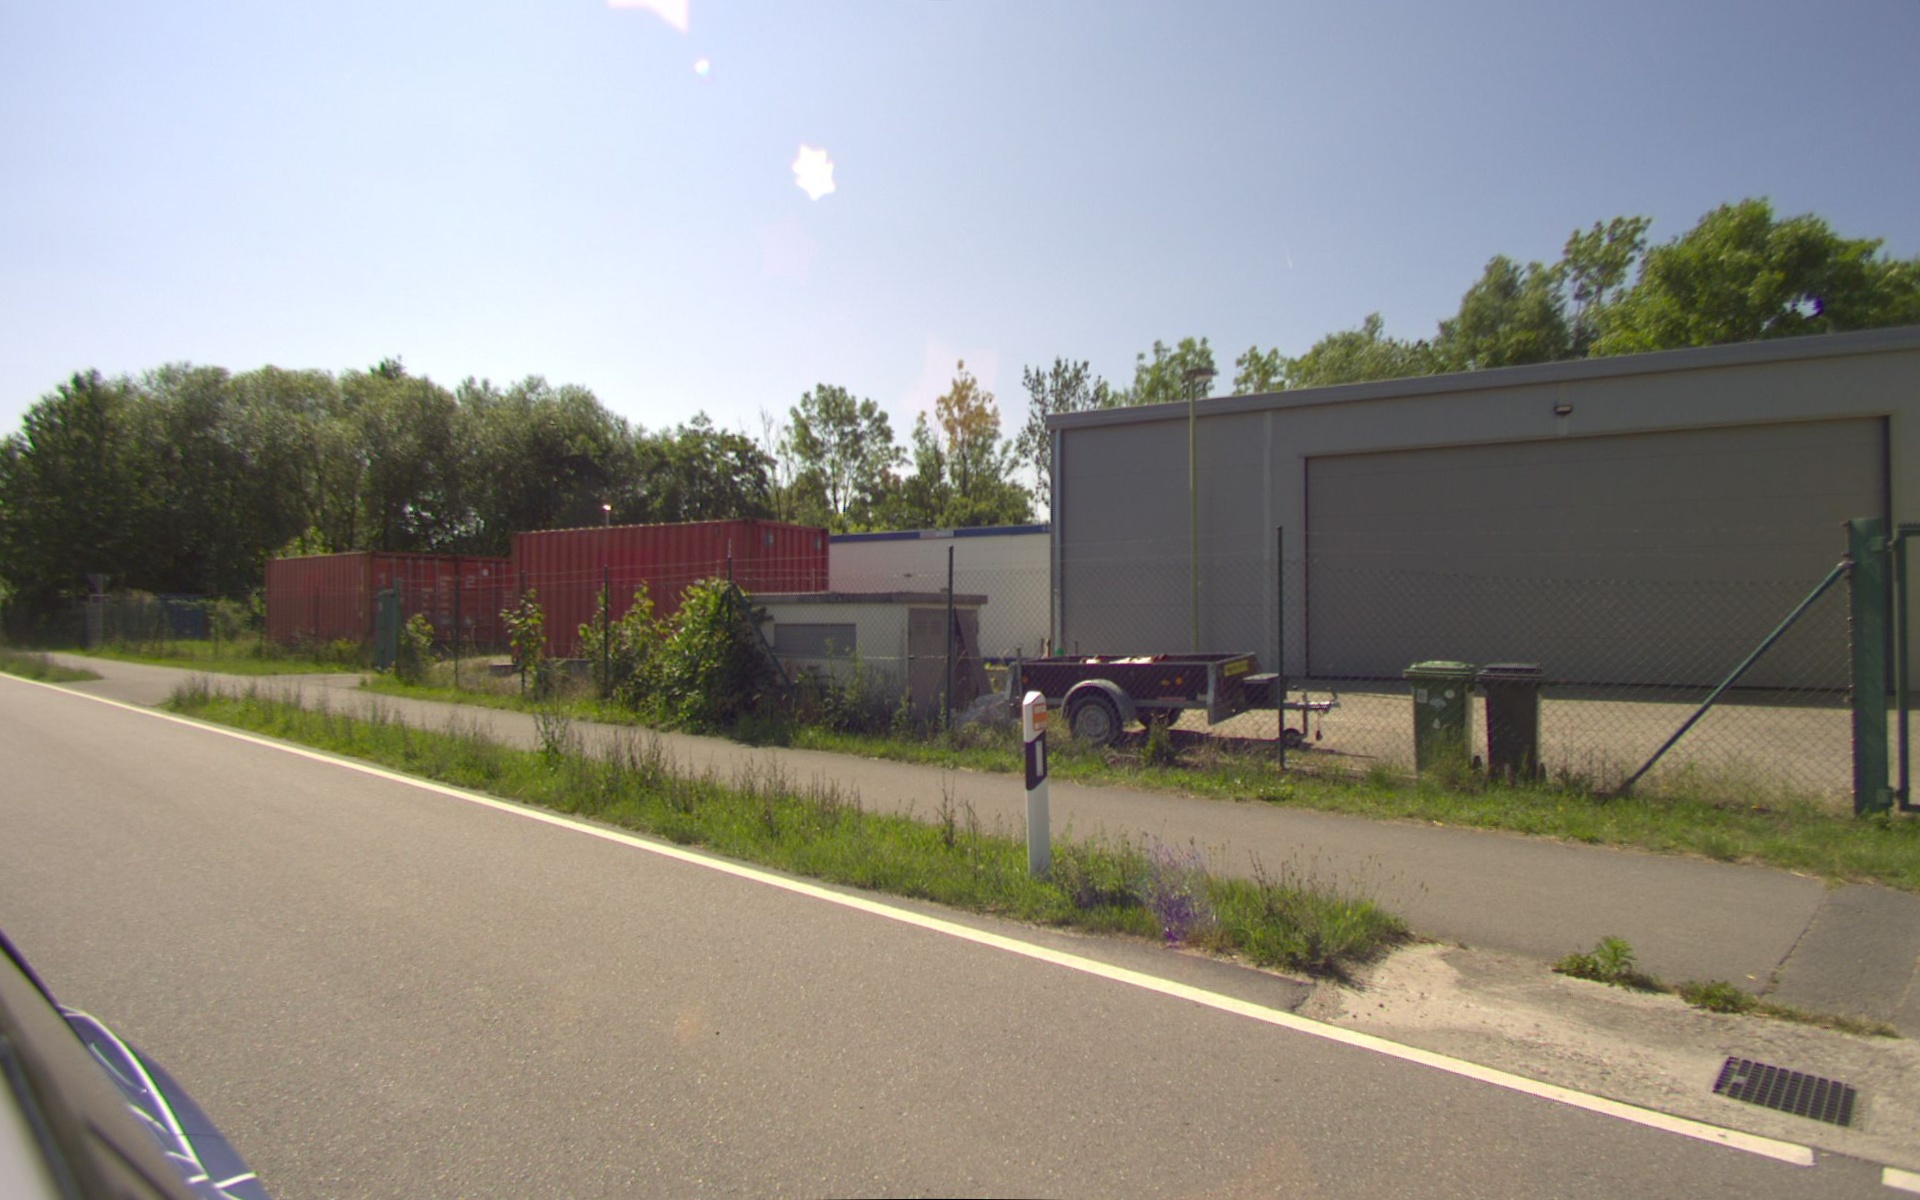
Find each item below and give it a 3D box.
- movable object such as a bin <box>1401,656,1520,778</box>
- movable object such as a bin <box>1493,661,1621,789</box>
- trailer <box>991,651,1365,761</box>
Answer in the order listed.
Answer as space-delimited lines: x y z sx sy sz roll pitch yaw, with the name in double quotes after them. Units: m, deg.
3.929 0.892 7.954 0.631 0.882 0.654 2 -3 -44 "movable object such as a bin"
4.394 0.891 7.455 0.631 0.861 0.654 2 -3 -44 "movable object such as a bin"
2.146 0.980 10.217 3.350 0.873 1.617 -1 -2 35 "trailer"
